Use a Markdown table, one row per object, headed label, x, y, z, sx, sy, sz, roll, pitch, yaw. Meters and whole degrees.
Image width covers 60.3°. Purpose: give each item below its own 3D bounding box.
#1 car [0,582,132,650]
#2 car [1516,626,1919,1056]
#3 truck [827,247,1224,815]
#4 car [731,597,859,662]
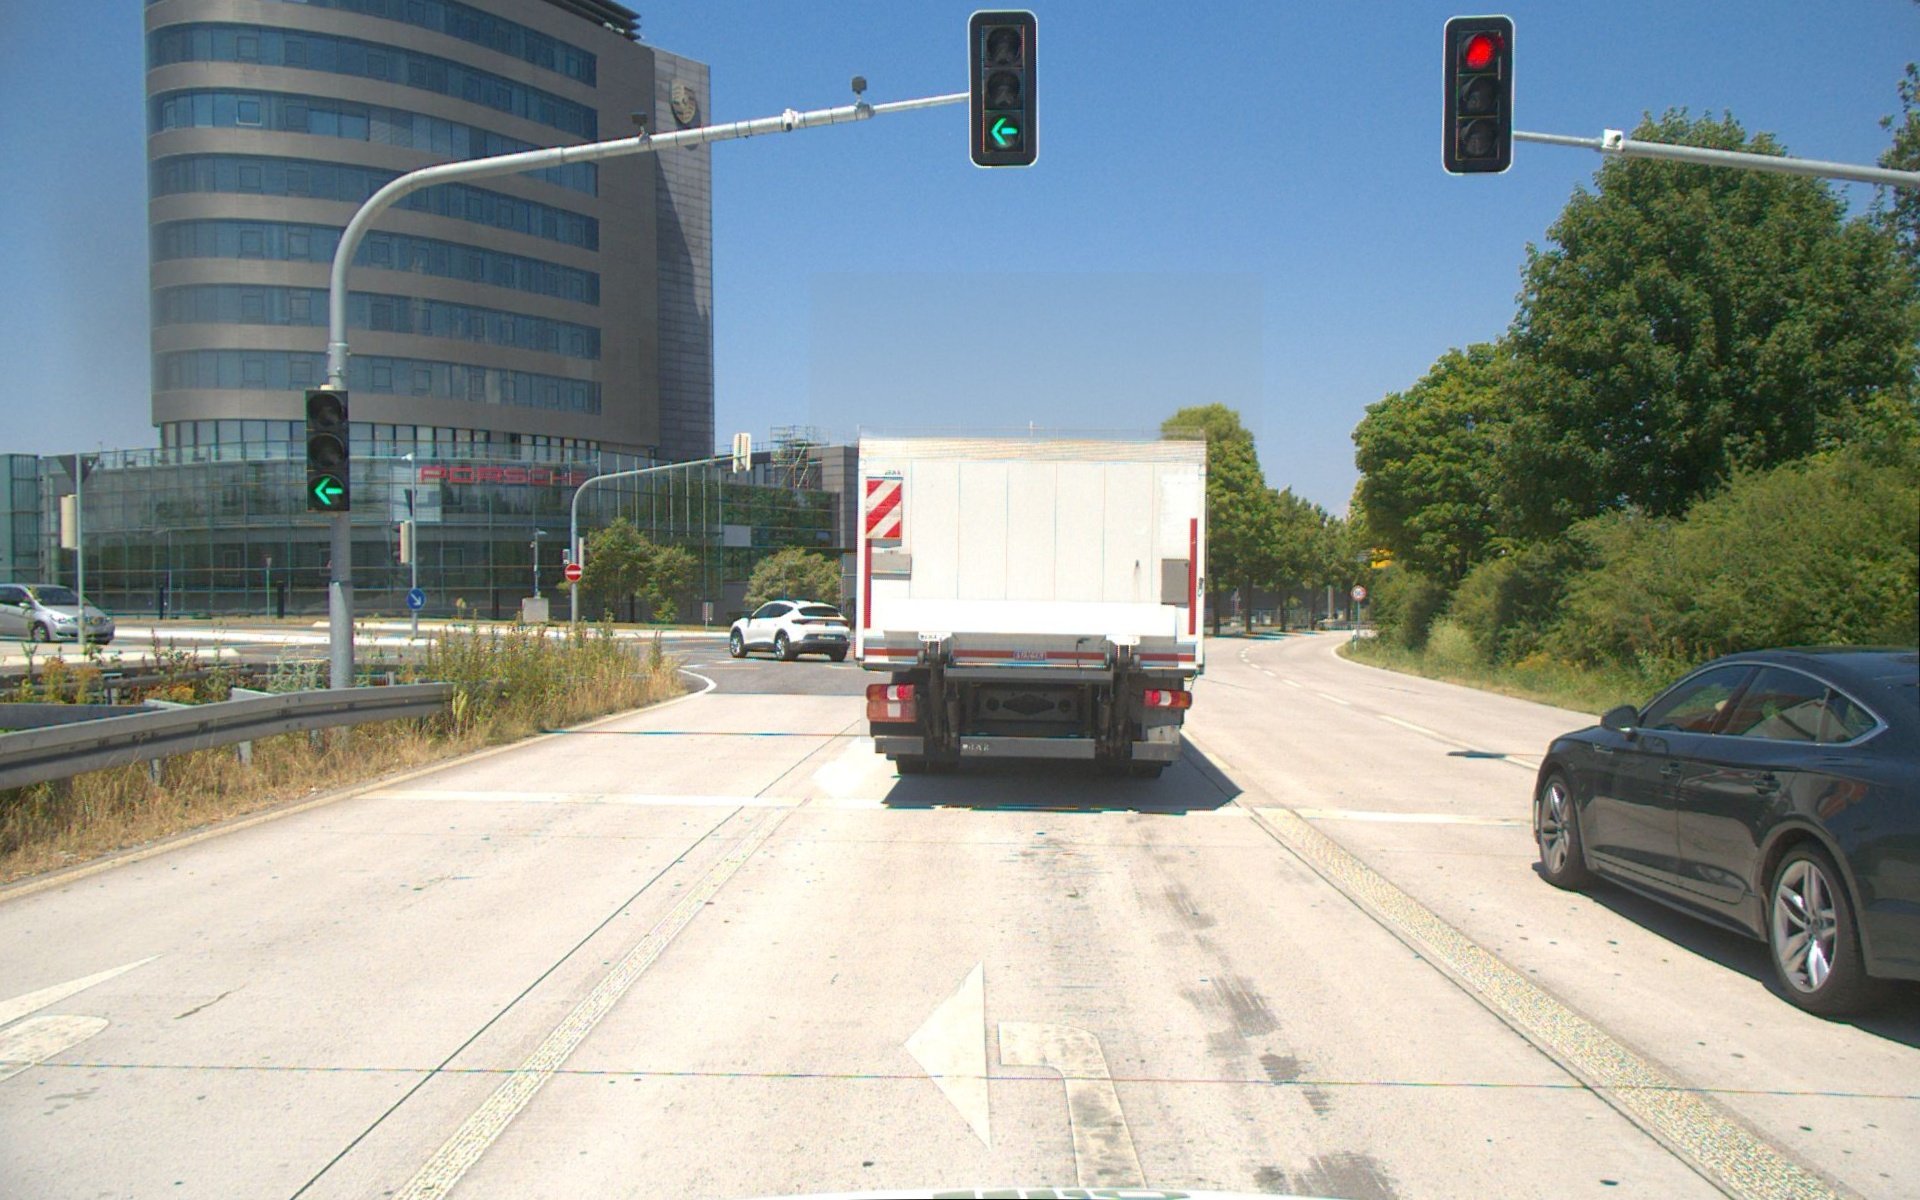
| label | x | y | z | sx | sy | sz | roll | pitch | yaw |
| --- | --- | --- | --- | --- | --- | --- | --- | --- | --- |
| car | -23.440 | 0.434 | 42.278 | 4.228 | 1.623 | 1.776 | -1 | -2 | 24 |
| car | 4.174 | 0.870 | 7.620 | 1.731 | 1.435 | 4.610 | 1 | -1 | 1 |
| truck | 0.586 | -0.446 | 16.264 | 2.712 | 3.927 | 9.371 | 1 | -1 | 2 |
| car | -4.312 | 0.733 | 42.772 | 1.784 | 1.584 | 3.958 | 1 | -1 | -31 |
